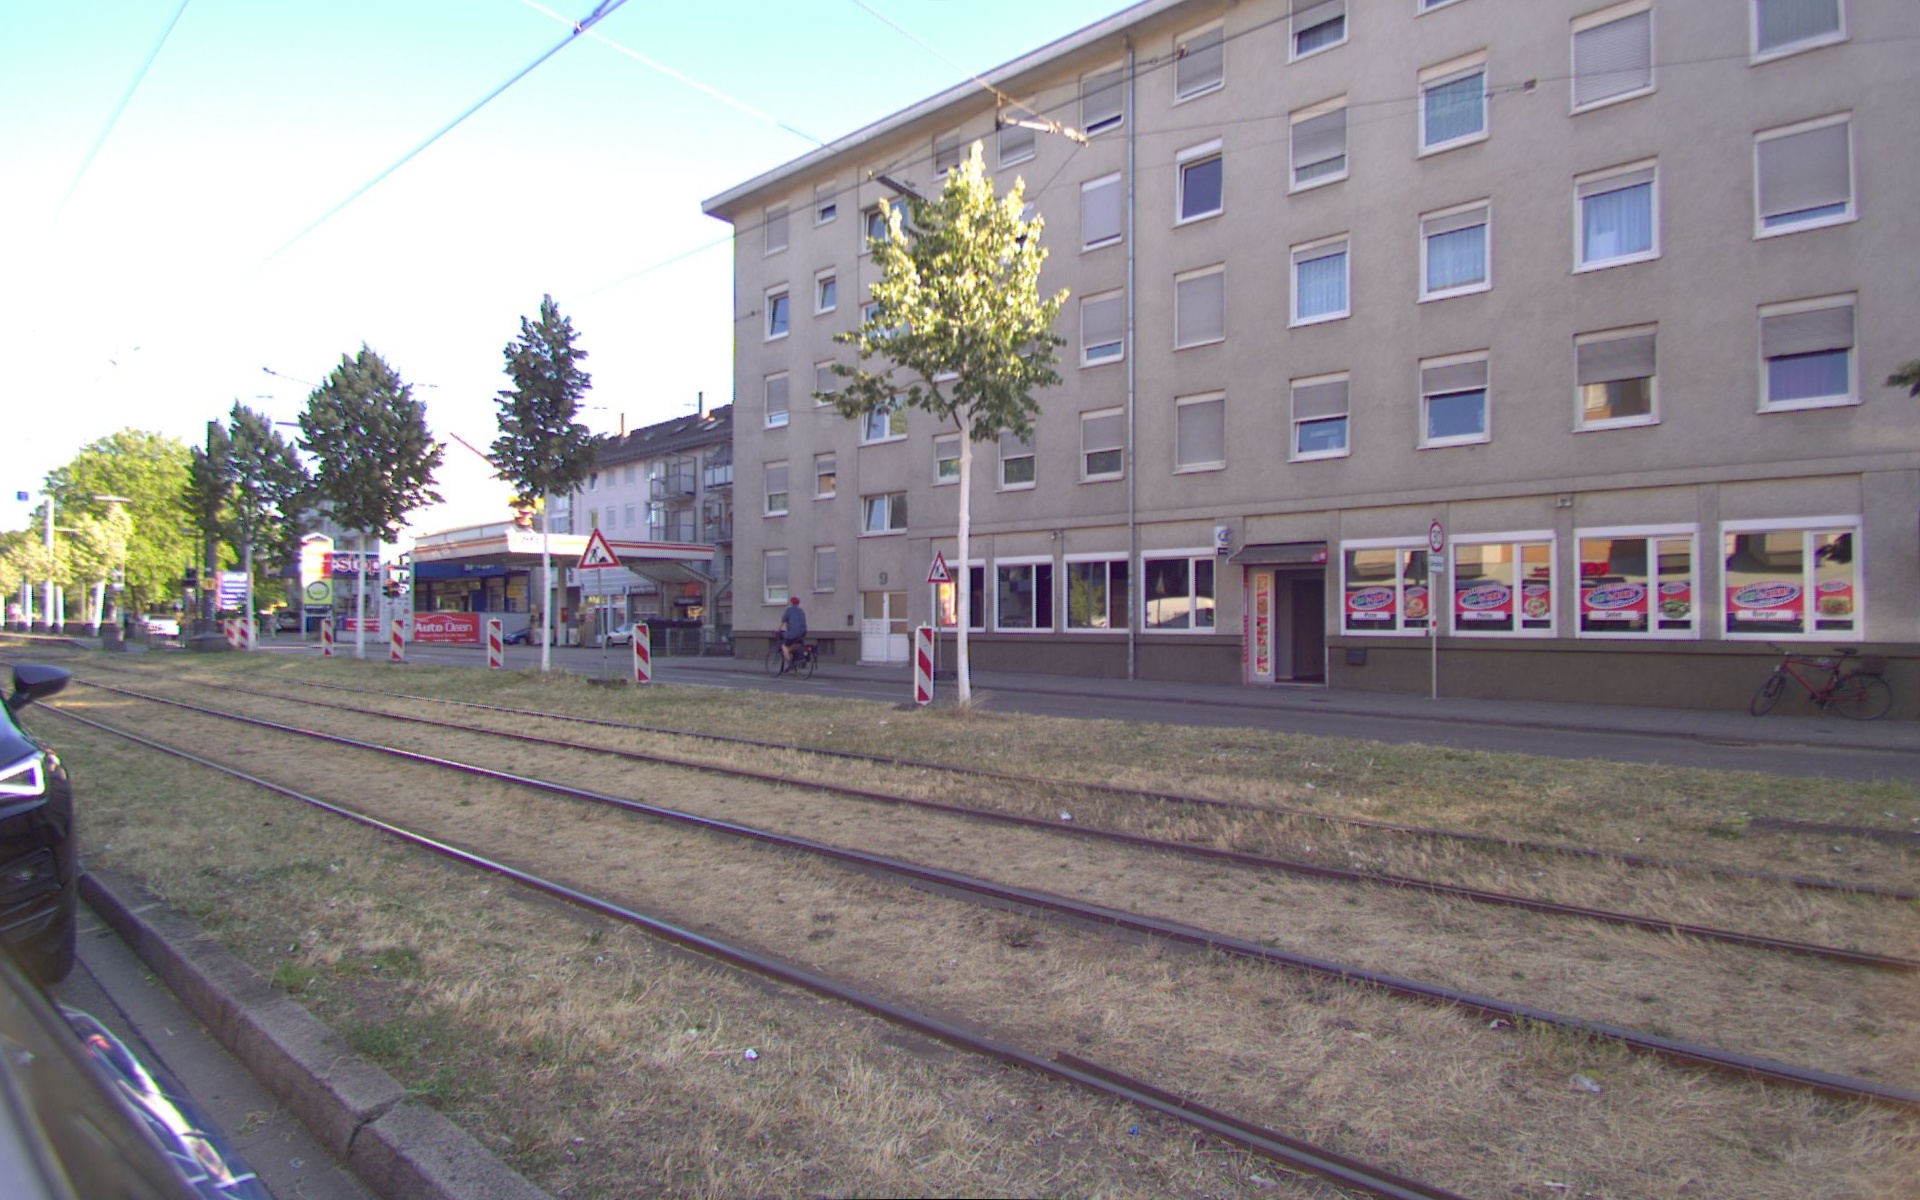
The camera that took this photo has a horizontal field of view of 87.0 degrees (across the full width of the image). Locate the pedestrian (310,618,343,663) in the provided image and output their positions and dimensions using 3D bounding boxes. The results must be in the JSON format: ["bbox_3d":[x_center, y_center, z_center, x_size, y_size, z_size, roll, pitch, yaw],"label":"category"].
[{"bbox_3d":[-18.338,1.169,29.281,0.581,1.280,0.655,-2,-1,42],"label":"pedestrian"}]

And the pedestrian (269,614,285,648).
[{"bbox_3d":[-41.885,1.904,62.052,0.583,2.029,0.623,-1,0,42],"label":"pedestrian"}]

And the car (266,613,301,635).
[{"bbox_3d":[-50.051,1.749,74.848,1.756,1.567,4.006,-1,0,-40],"label":"car"}]

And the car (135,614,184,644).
[{"bbox_3d":[-51.008,1.813,64.442,1.971,1.748,4.396,0,0,-45],"label":"car"}]

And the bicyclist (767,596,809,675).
[{"bbox_3d":[-4.194,0.857,24.697,0.809,1.897,0.644,-2,-3,43],"label":"bicyclist"}]

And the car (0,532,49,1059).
[{"bbox_3d":[-5.073,0.654,3.991,3.998,1.690,1.752,-1,-1,41],"label":"car"}]

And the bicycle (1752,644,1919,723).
[{"bbox_3d":[12.768,1.186,14.799,1.844,1.031,0.601,0,0,41],"label":"bicycle"}]

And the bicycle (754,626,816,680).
[{"bbox_3d":[-4.300,1.278,24.767,1.871,1.267,0.450,-2,-2,44],"label":"bicycle"}]

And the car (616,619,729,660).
[{"bbox_3d":[-10.805,1.493,38.154,1.906,1.481,3.680,-3,-4,40],"label":"car"}]
